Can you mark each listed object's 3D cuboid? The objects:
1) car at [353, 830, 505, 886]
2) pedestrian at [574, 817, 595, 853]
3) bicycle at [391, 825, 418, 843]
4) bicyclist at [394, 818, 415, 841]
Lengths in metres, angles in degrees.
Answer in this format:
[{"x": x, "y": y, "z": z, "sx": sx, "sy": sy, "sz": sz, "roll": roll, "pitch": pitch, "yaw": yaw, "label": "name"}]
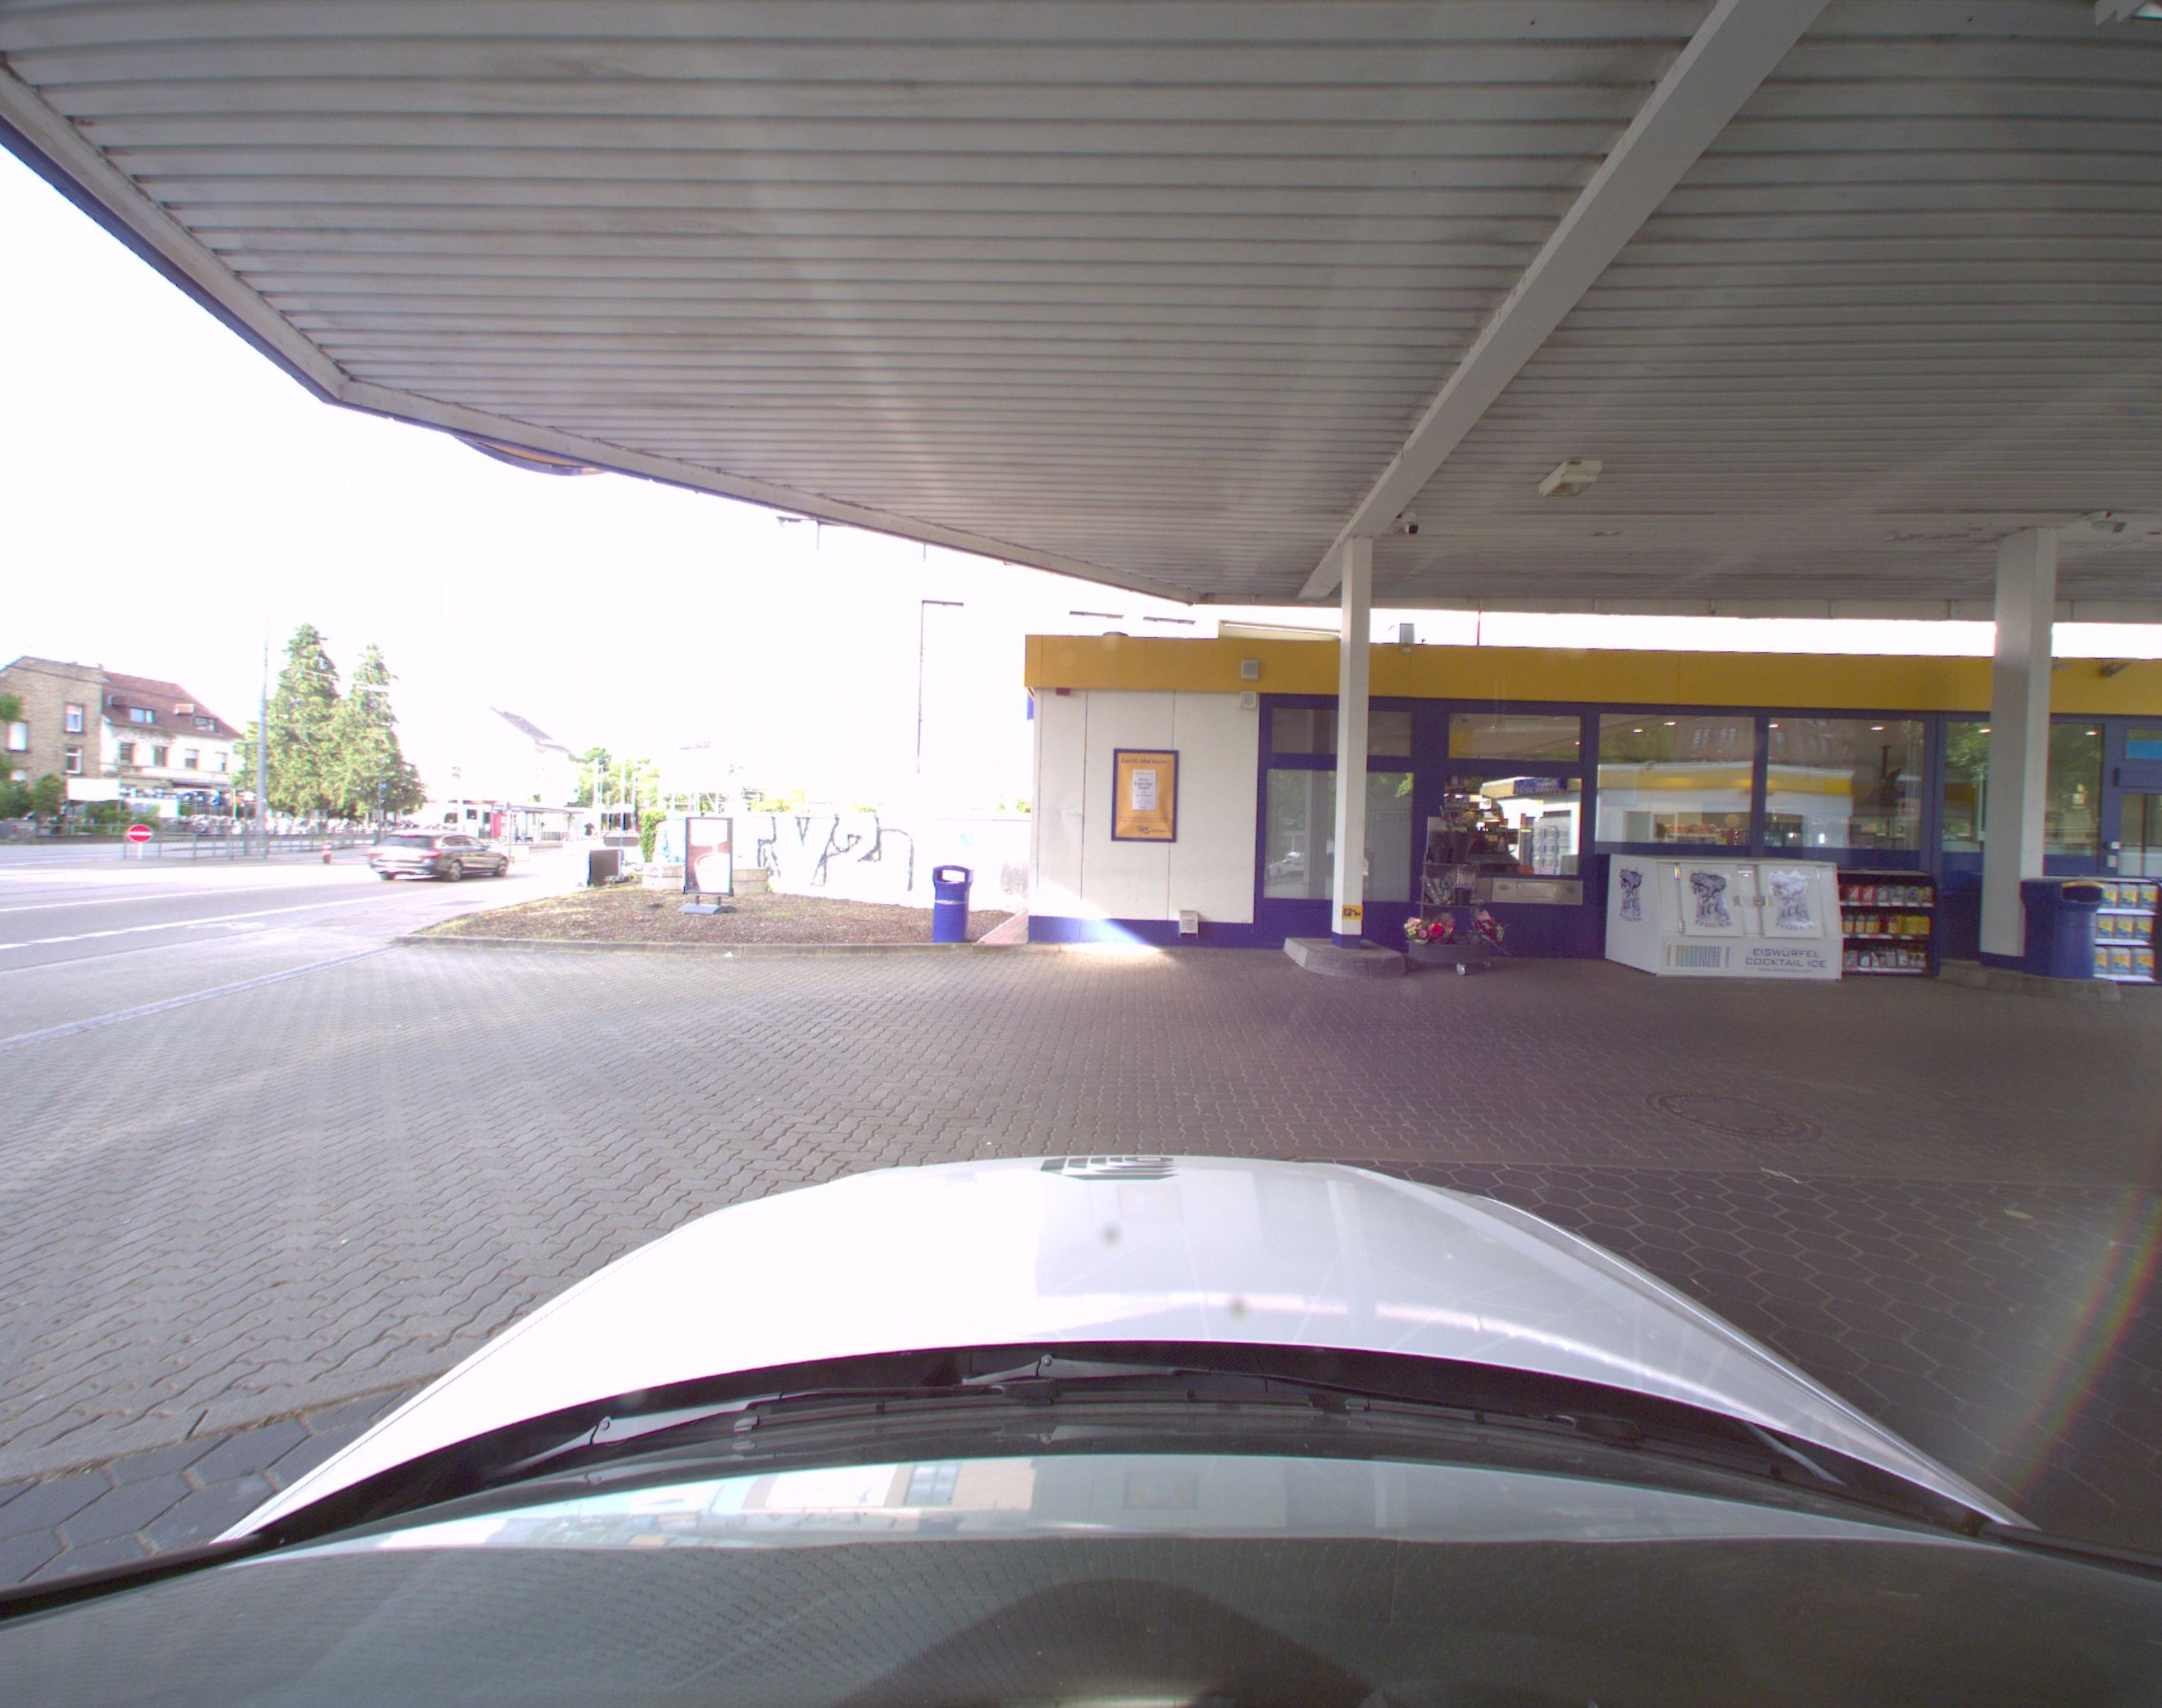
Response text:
[{"x": -18.982, "y": 0.061, "z": 24.002, "sx": 1.751, "sy": 1.468, "sz": 4.548, "roll": 2, "pitch": 1, "yaw": -15, "label": "car"}, {"x": -27.944, "y": -1.066, "z": 45.809, "sx": 0.808, "sy": 2.014, "sz": 0.846, "roll": 0, "pitch": -1, "yaw": -16, "label": "pedestrian"}, {"x": -45.433, "y": -1.350, "z": 54.722, "sx": 0.680, "sy": 1.222, "sz": 1.909, "roll": 0, "pitch": 1, "yaw": -16, "label": "bicycle"}, {"x": -45.438, "y": -1.645, "z": 54.720, "sx": 0.680, "sy": 1.534, "sz": 1.079, "roll": 0, "pitch": 1, "yaw": -17, "label": "bicyclist"}]
